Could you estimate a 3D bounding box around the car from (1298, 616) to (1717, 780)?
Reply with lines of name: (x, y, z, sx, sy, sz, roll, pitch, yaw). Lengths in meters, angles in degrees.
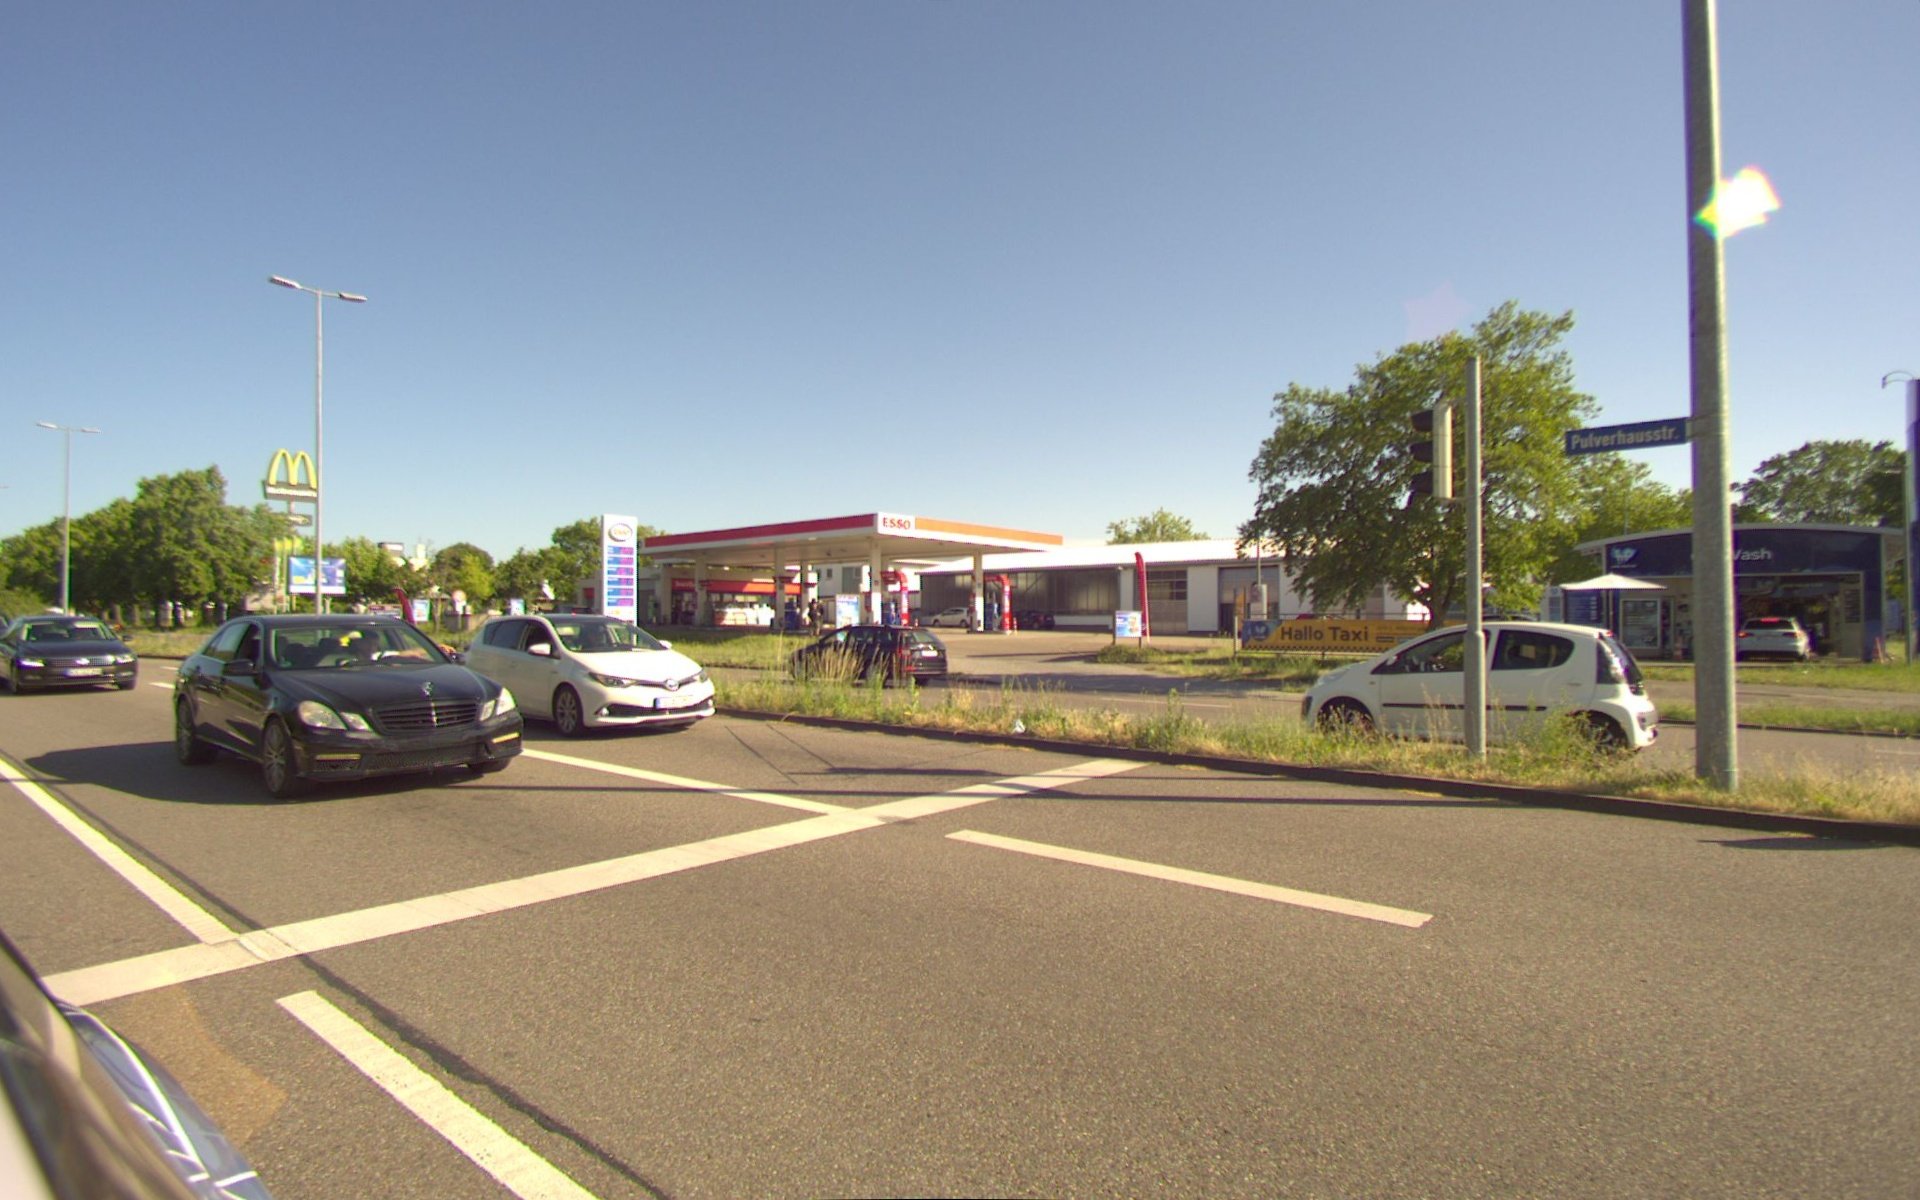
car: (5.714, 0.918, 10.792, 3.663, 1.443, 1.677, -1, -3, 41)

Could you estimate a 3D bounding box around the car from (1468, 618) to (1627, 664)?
car: (18.452, 1.267, 31.856, 4.116, 1.335, 1.876, -1, -3, 40)

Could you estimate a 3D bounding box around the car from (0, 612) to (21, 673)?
car: (-28.580, 1.203, 28.986, 4.693, 1.696, 1.973, -1, 0, 41)

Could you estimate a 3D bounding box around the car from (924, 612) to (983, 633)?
car: (-0.473, 1.626, 72.694, 4.116, 1.451, 1.750, -1, -2, 40)

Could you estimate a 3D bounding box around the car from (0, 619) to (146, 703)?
car: (-17.658, 1.120, 19.967, 4.264, 1.464, 1.825, -1, -1, 41)

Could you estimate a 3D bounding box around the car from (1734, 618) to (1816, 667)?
car: (25.916, 1.341, 32.128, 1.900, 1.443, 4.063, -1, -3, 41)

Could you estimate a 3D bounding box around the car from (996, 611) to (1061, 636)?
car: (4.622, 1.592, 68.589, 4.116, 1.603, 1.876, -1, -3, 40)

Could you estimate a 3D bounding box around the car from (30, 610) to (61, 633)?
car: (-88.130, 2.086, 97.521, 4.456, 2.092, 1.677, -1, -3, 41)

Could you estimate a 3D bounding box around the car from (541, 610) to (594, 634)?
car: (-28.129, 1.586, 72.506, 4.116, 1.625, 1.740, -1, -3, 40)

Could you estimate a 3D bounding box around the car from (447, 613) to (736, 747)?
car: (-4.853, 0.915, 13.056, 4.114, 1.466, 1.767, -1, -2, 41)

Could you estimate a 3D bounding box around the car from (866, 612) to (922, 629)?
car: (-5.027, 1.532, 77.195, 4.116, 1.236, 1.876, -1, -3, 40)

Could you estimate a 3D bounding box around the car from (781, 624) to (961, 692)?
car: (-2.194, 1.332, 24.236, 4.456, 1.443, 1.677, -1, -3, 41)

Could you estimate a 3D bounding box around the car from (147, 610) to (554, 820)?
car: (-5.969, 0.866, 9.615, 4.916, 1.494, 1.938, -1, -1, 41)
